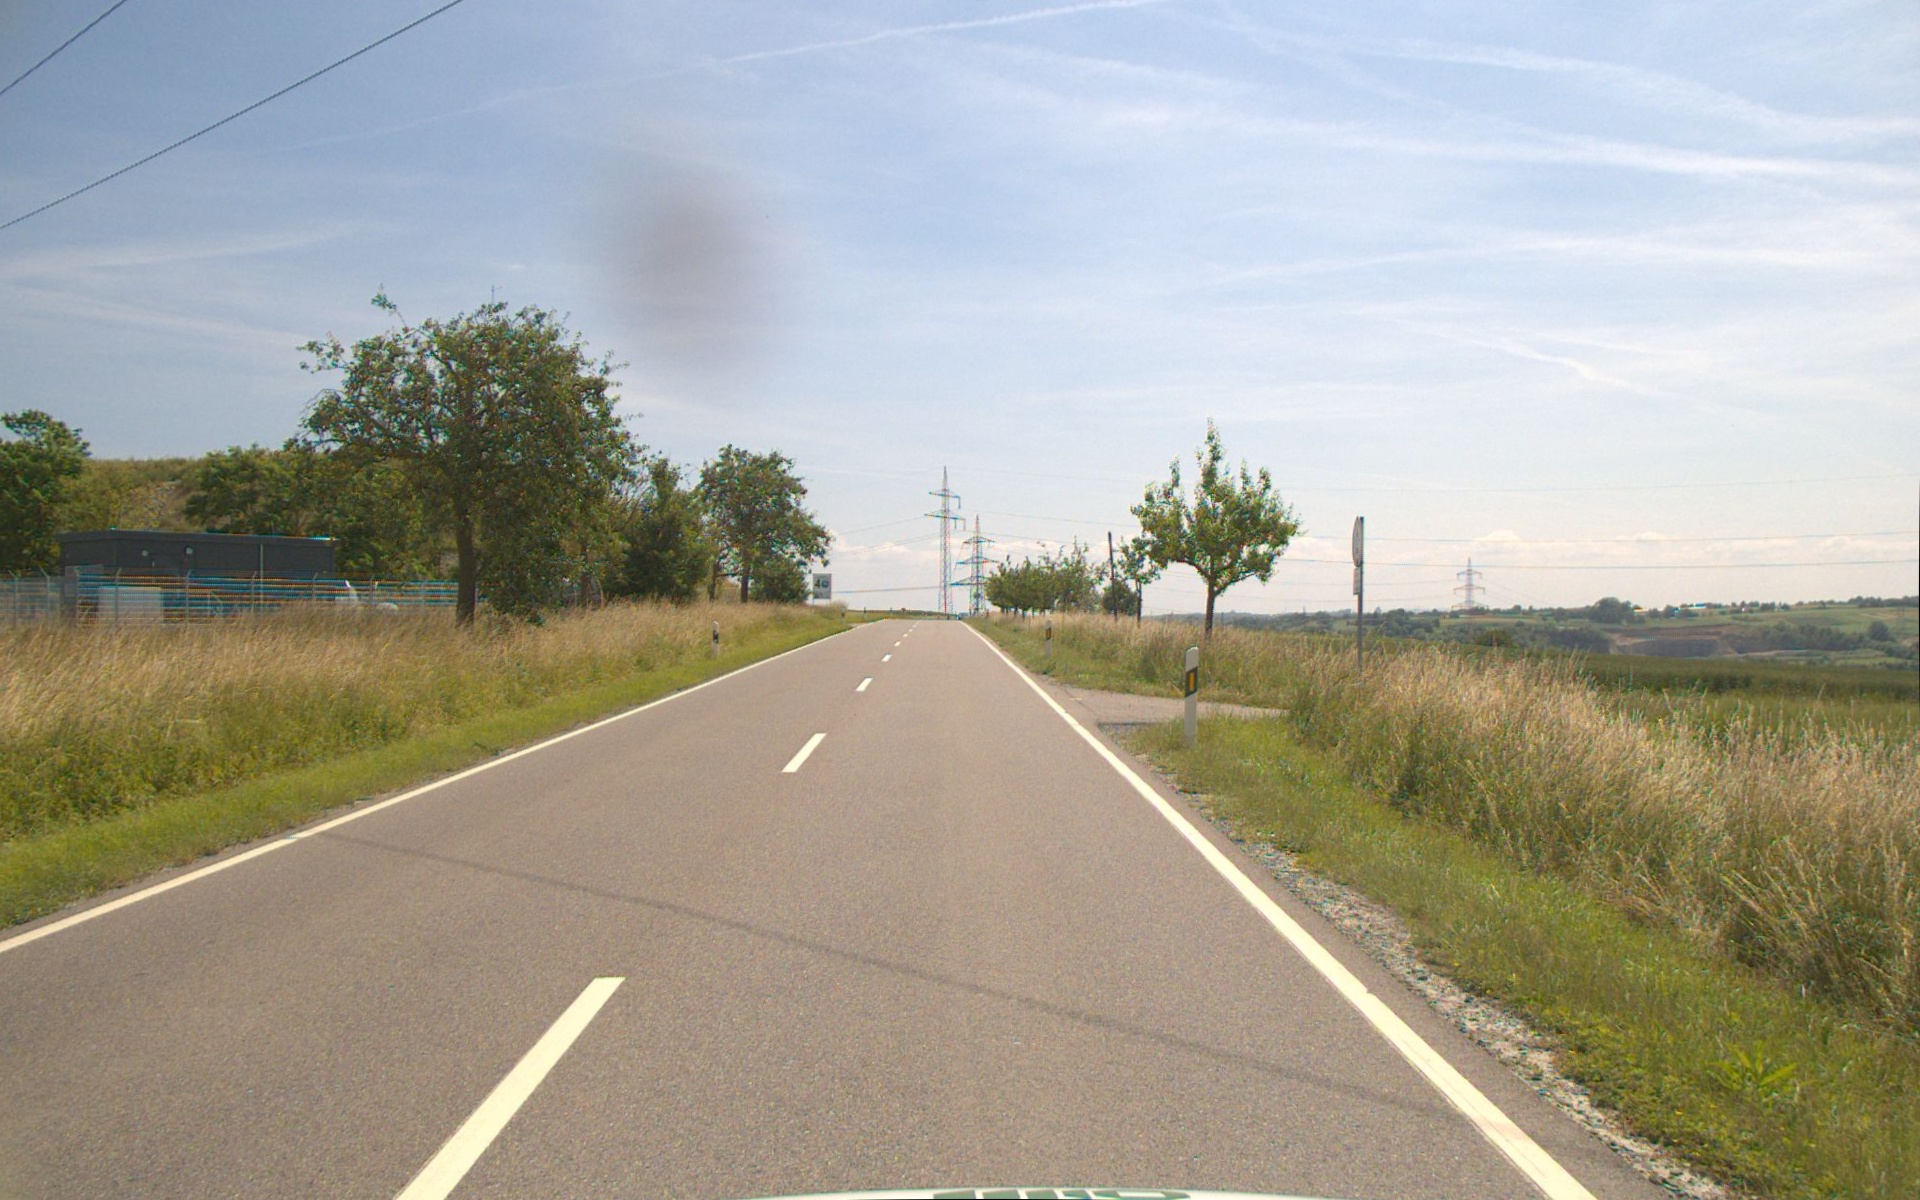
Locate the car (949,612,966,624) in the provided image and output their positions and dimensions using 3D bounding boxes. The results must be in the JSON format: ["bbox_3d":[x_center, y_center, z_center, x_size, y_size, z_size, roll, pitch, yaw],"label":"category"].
[{"bbox_3d":[-0.309,2.301,214.577,1.784,1.435,4.002,0,0,5],"label":"car"}]
